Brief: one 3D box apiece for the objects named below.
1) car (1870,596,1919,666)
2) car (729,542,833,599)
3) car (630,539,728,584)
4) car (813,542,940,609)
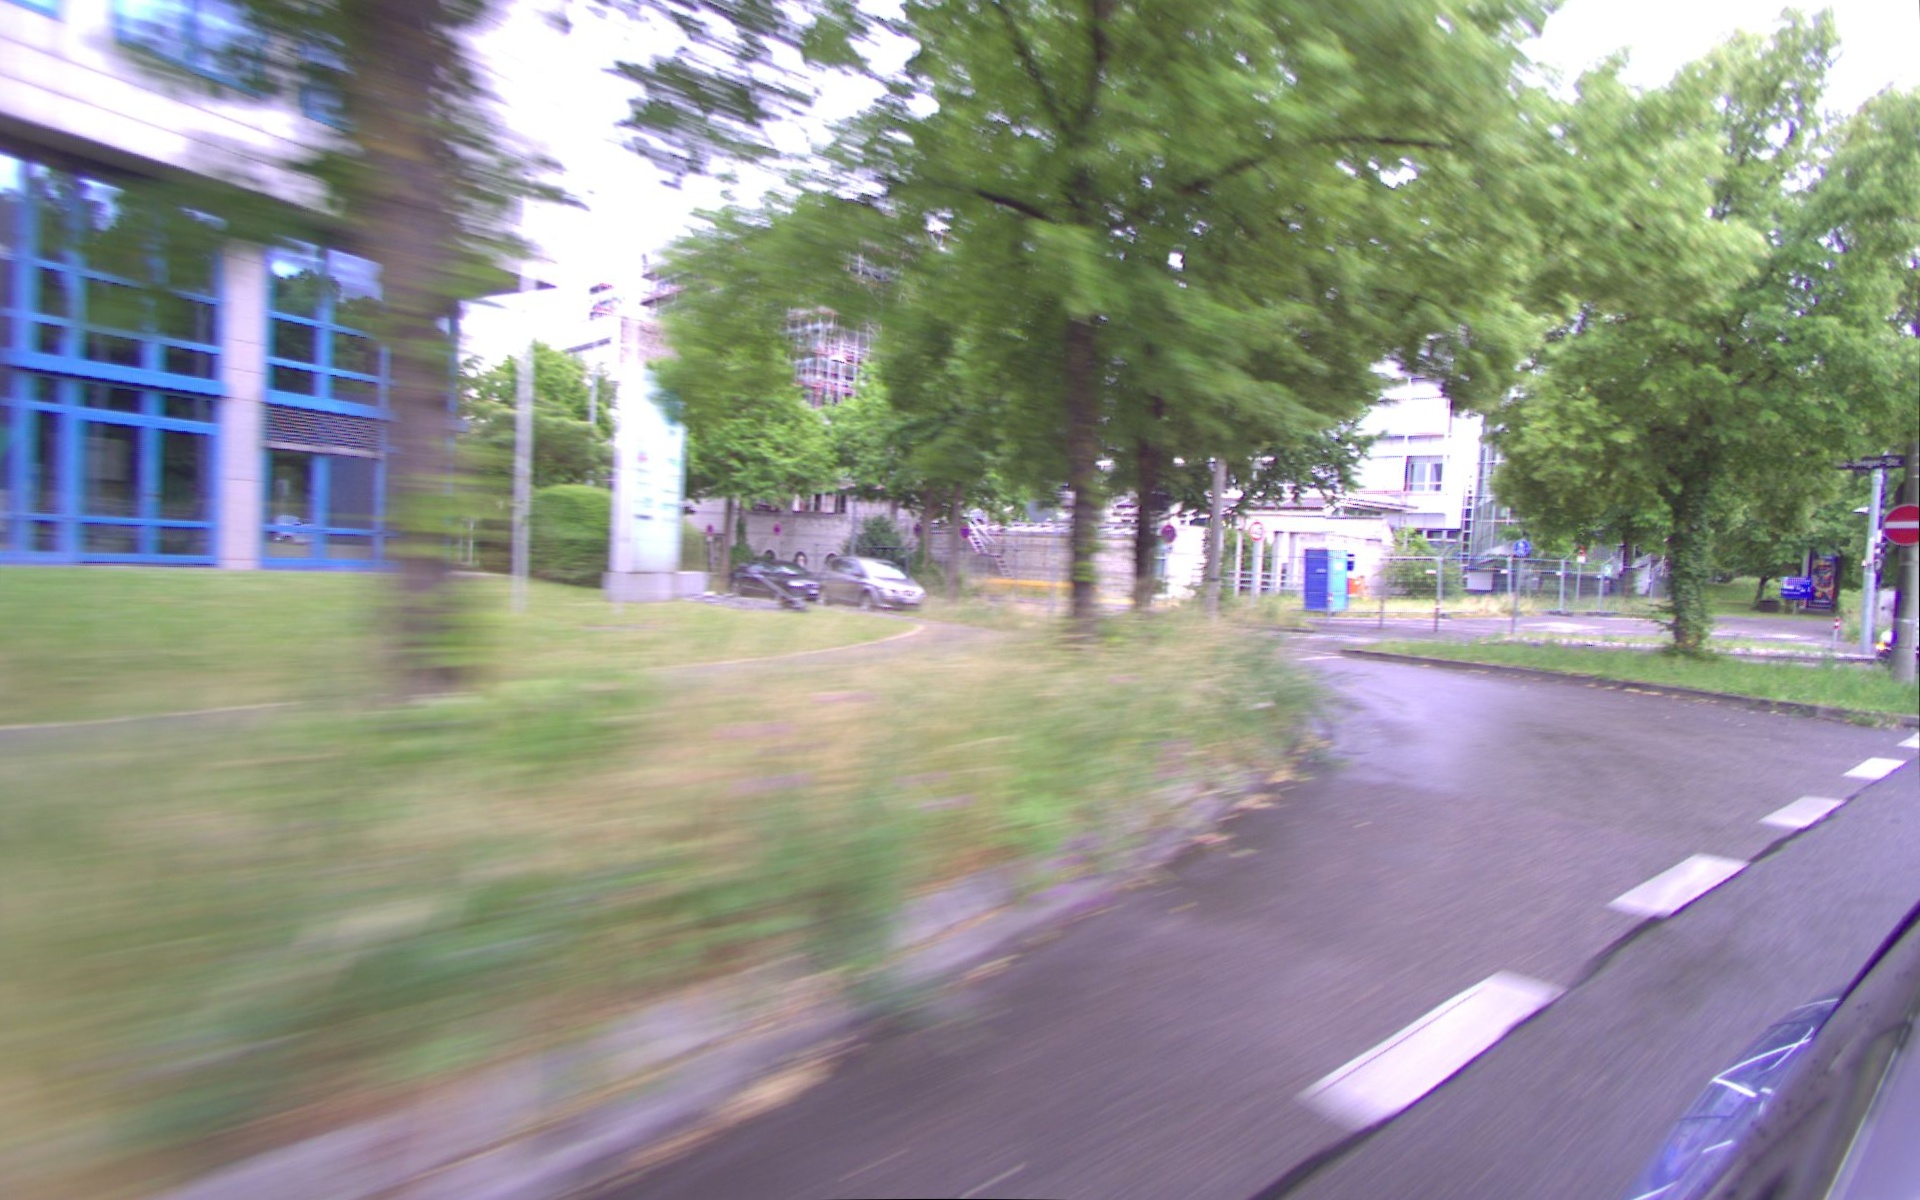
[{"bbox_3d":[22.436,0.726,21.905,4.337,1.451,1.716,2,2,-11],"label":"car"},{"bbox_3d":[-5.887,-1.004,32.991,1.724,1.598,4.113,3,1,-34],"label":"car"},{"bbox_3d":[-10.823,-1.498,38.819,4.100,1.450,1.729,5,2,45],"label":"car"},{"bbox_3d":[-2.474,-0.744,28.936,1.724,1.662,4.113,3,1,-34],"label":"car"}]
